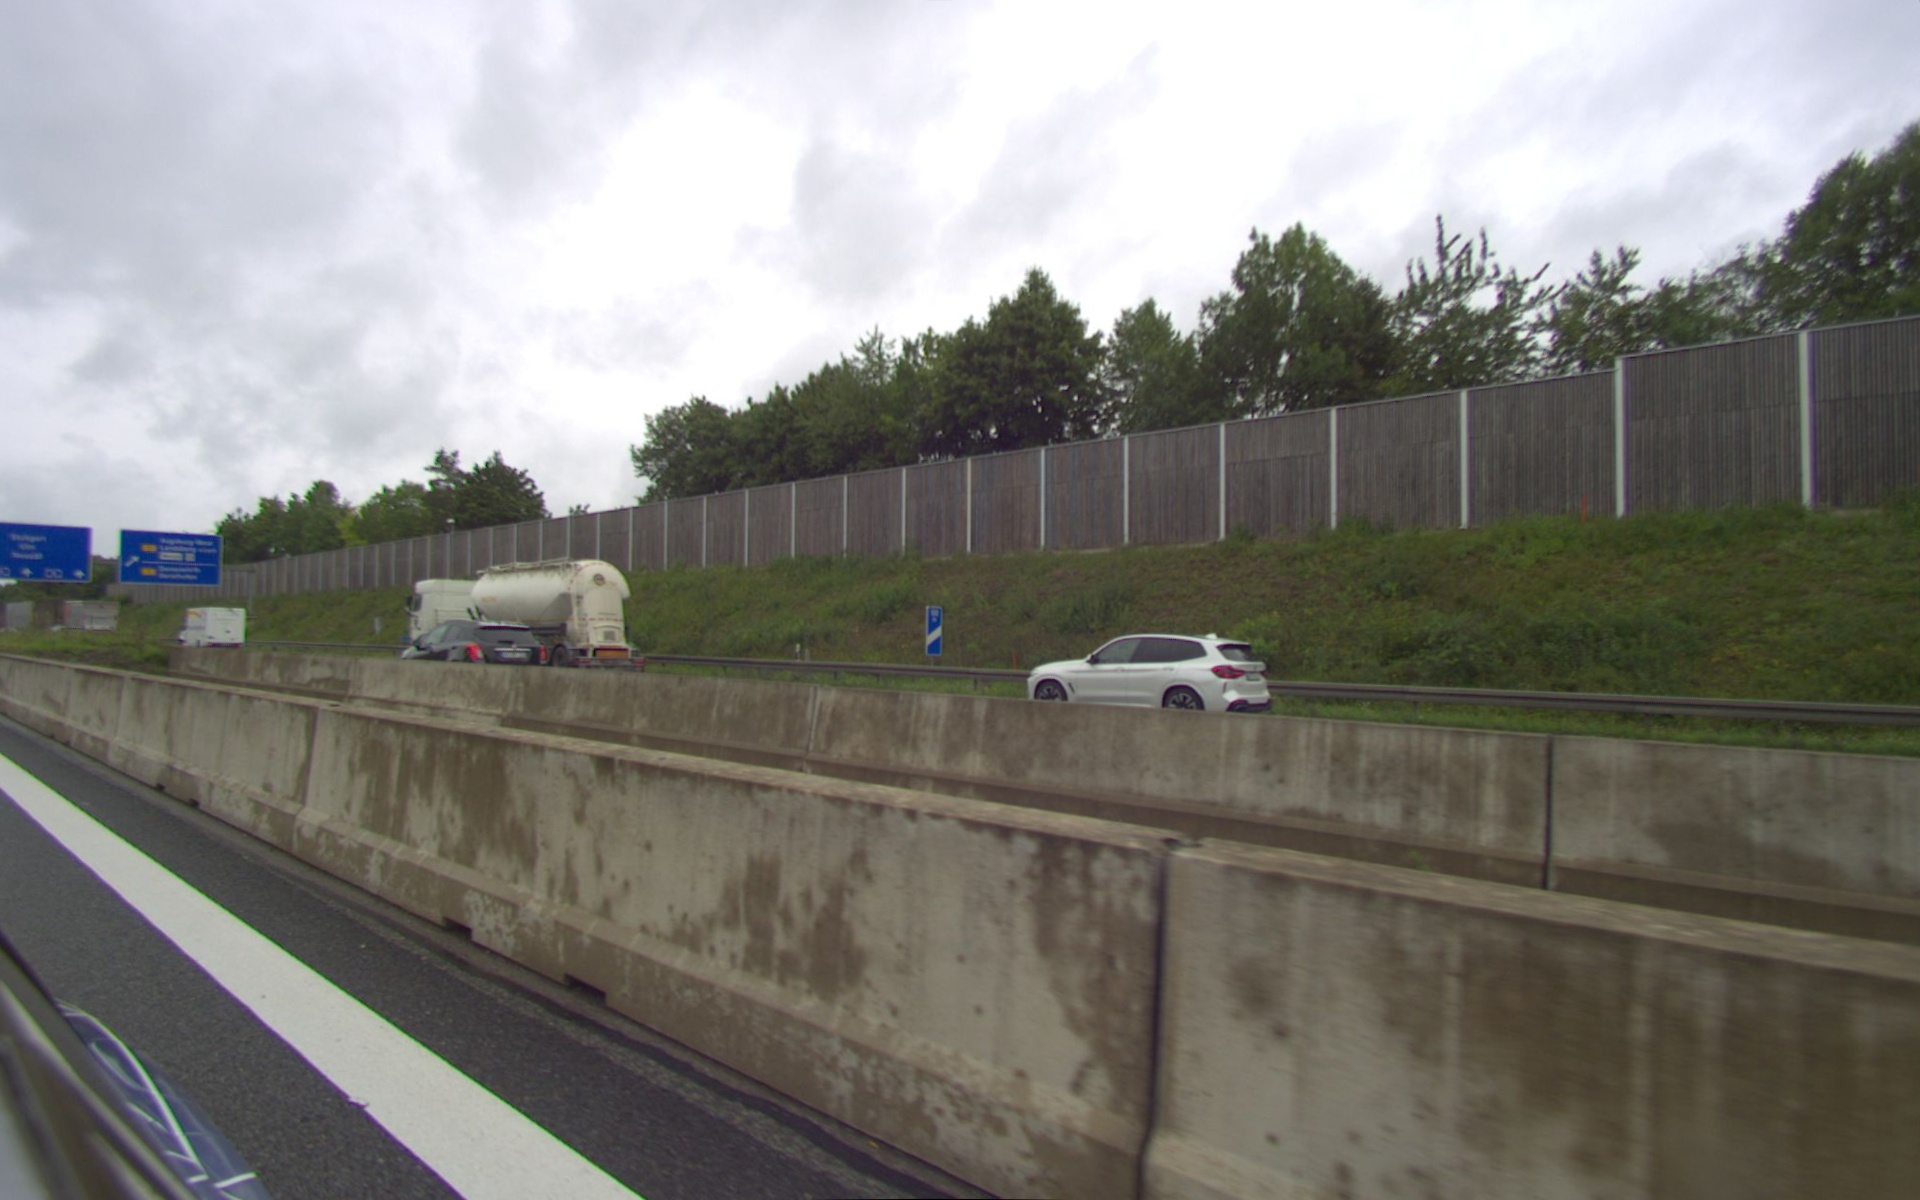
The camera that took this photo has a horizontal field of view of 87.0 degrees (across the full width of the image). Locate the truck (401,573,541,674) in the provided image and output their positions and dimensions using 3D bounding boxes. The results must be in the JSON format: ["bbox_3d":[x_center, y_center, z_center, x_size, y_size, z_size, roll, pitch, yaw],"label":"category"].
[{"bbox_3d":[-19.157,0.948,39.510,5.855,3.585,2.672,-1,-5,41],"label":"truck"}]

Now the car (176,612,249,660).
[{"bbox_3d":[-48.523,2.317,65.652,6.685,2.993,2.339,-1,-2,41],"label":"car"}]

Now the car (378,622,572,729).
[{"bbox_3d":[-10.380,1.506,21.497,4.766,2.029,1.973,-1,-3,41],"label":"car"}]

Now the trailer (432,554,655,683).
[{"bbox_3d":[-15.060,0.712,35.935,10.640,3.953,2.683,-1,-5,41],"label":"trailer"}]

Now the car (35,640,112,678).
[{"bbox_3d":[-44.997,2.956,51.356,5.092,1.669,2.338,-1,0,42],"label":"car"}]

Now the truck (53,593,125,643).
[{"bbox_3d":[-78.844,1.730,91.524,11.138,4.274,3.284,-2,-1,41],"label":"truck"}]

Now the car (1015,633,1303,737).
[{"bbox_3d":[3.563,1.456,18.775,4.958,1.656,1.973,-1,-2,41],"label":"car"}]
